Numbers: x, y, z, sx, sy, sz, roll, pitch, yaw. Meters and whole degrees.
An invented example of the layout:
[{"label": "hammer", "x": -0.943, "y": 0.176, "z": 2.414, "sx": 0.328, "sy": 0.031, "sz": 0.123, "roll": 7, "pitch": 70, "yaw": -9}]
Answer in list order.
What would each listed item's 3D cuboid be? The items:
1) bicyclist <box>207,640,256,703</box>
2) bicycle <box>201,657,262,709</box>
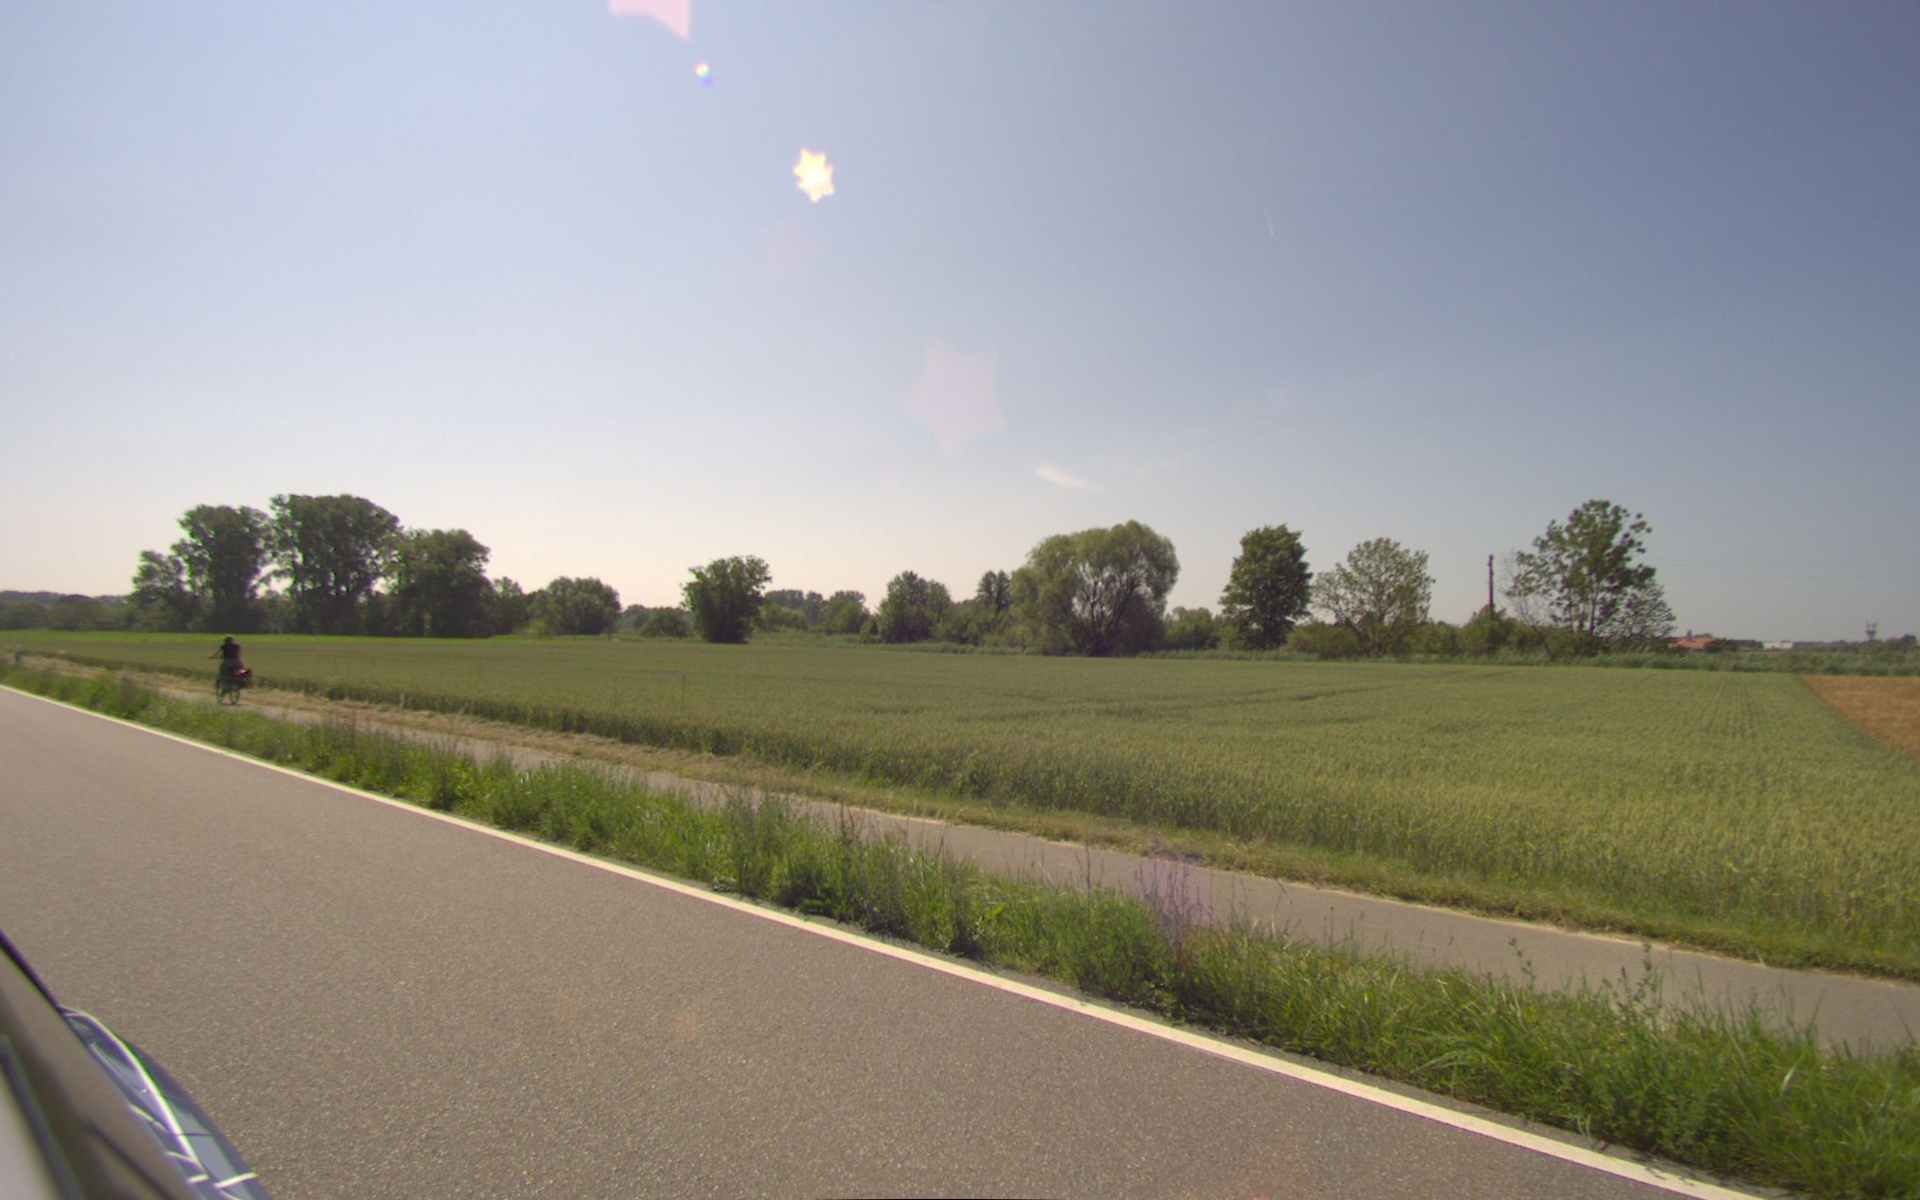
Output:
[{"label": "bicyclist", "x": -17.912, "y": 1.735, "z": 24.881, "sx": 1.002, "sy": 1.508, "sz": 0.733, "roll": -1, "pitch": -3, "yaw": 41}, {"label": "bicycle", "x": -17.919, "y": 2.021, "z": 24.880, "sx": 2.081, "sy": 1.180, "sz": 0.733, "roll": -1, "pitch": -3, "yaw": 41}]
